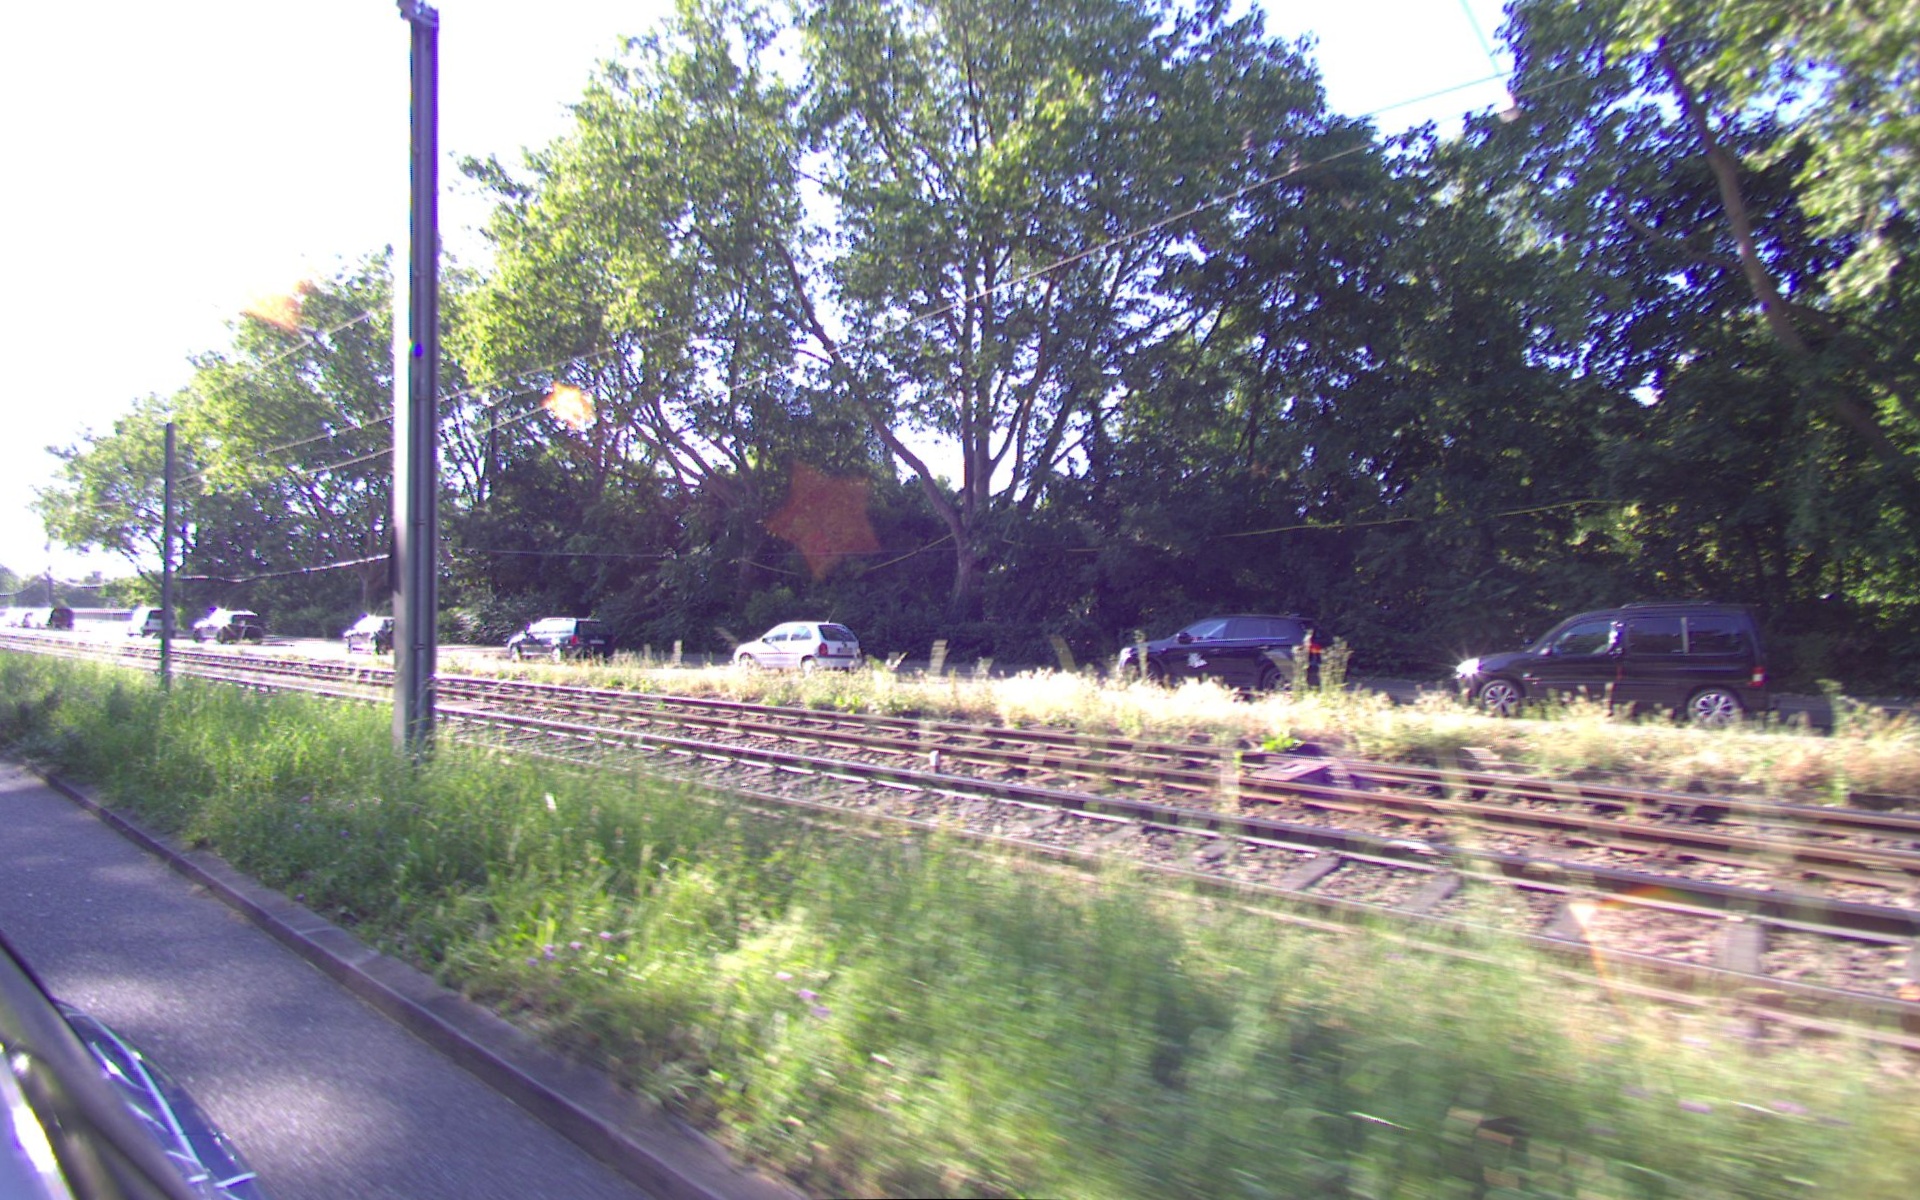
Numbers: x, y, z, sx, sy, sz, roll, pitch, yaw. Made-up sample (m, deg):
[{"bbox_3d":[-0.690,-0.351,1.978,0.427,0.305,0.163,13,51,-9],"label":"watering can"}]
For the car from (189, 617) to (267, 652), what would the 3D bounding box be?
[{"bbox_3d":[-38.173,1.760,52.734,4.382,1.732,1.812,0,-2,33],"label":"car"}]

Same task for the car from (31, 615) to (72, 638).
[{"bbox_3d":[-72.340,2.102,80.560,3.894,1.753,1.714,0,-2,37],"label":"car"}]

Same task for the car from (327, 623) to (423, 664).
[{"bbox_3d":[-23.701,1.742,40.947,4.388,1.517,1.810,0,-2,37],"label":"car"}]

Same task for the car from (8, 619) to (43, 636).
[{"bbox_3d":[-80.856,2.374,87.580,3.780,1.453,1.638,-1,-2,38],"label":"car"}]

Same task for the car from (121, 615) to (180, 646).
[{"bbox_3d":[-50.414,1.859,63.001,4.388,1.854,1.810,0,-2,37],"label":"car"}]

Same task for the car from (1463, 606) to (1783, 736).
[{"bbox_3d":[9.945,0.988,15.378,3.876,1.741,1.722,0,-2,37],"label":"car"}]

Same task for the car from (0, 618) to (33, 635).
[{"bbox_3d":[-85.004,2.366,91.034,3.919,1.511,1.638,0,-2,37],"label":"car"}]

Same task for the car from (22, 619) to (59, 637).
[{"bbox_3d":[-76.527,2.341,84.216,3.779,1.453,1.638,0,-2,37],"label":"car"}]

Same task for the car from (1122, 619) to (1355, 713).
[{"bbox_3d":[5.183,1.166,19.029,3.876,1.567,1.722,0,-2,37],"label":"car"}]

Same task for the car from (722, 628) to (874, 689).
[{"bbox_3d":[-4.238,1.472,26.281,3.846,1.448,1.722,0,-2,37],"label":"car"}]

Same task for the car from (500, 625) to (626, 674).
[{"bbox_3d":[-12.912,1.575,32.813,4.317,1.448,1.810,0,-2,37],"label":"car"}]
